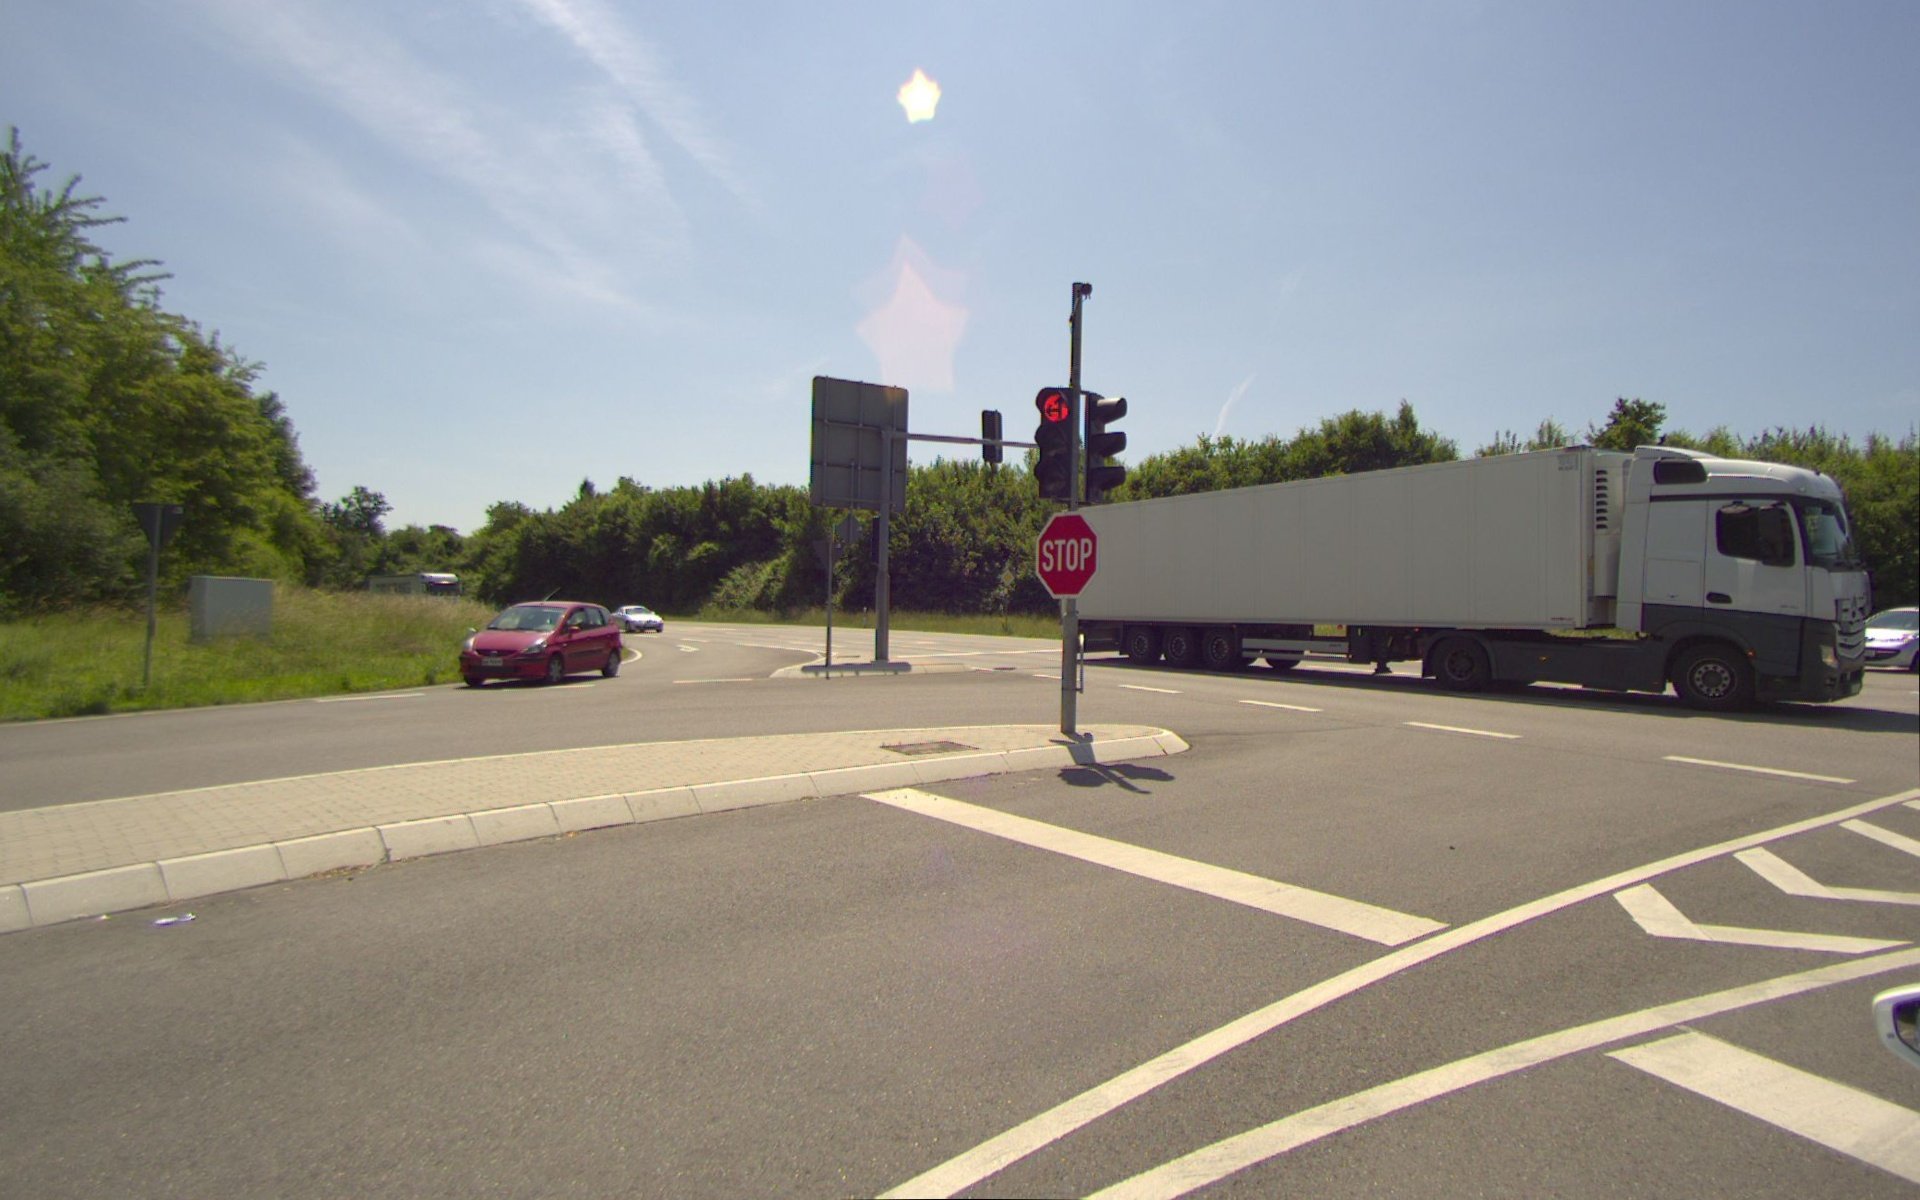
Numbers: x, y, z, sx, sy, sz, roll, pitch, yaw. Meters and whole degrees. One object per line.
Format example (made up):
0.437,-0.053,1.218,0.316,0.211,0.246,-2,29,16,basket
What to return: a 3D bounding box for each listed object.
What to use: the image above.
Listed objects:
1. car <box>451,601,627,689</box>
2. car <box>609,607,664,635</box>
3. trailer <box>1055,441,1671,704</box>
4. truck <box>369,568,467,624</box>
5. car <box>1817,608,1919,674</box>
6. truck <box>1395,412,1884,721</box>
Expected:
-7.886,0.796,19.204,1.519,1.519,3.835,0,-1,4,car
-16.191,1.023,50.230,1.430,1.301,3.791,0,0,-38,car
7.328,-0.432,22.160,2.632,4.090,13.714,0,0,-32,trailer
-47.320,-0.248,87.307,3.124,4.506,16.237,-1,0,-44,truck
21.694,0.885,22.887,3.470,1.389,1.566,0,0,-14,car
10.804,-0.445,16.673,2.631,4.090,6.226,0,0,-32,truck
